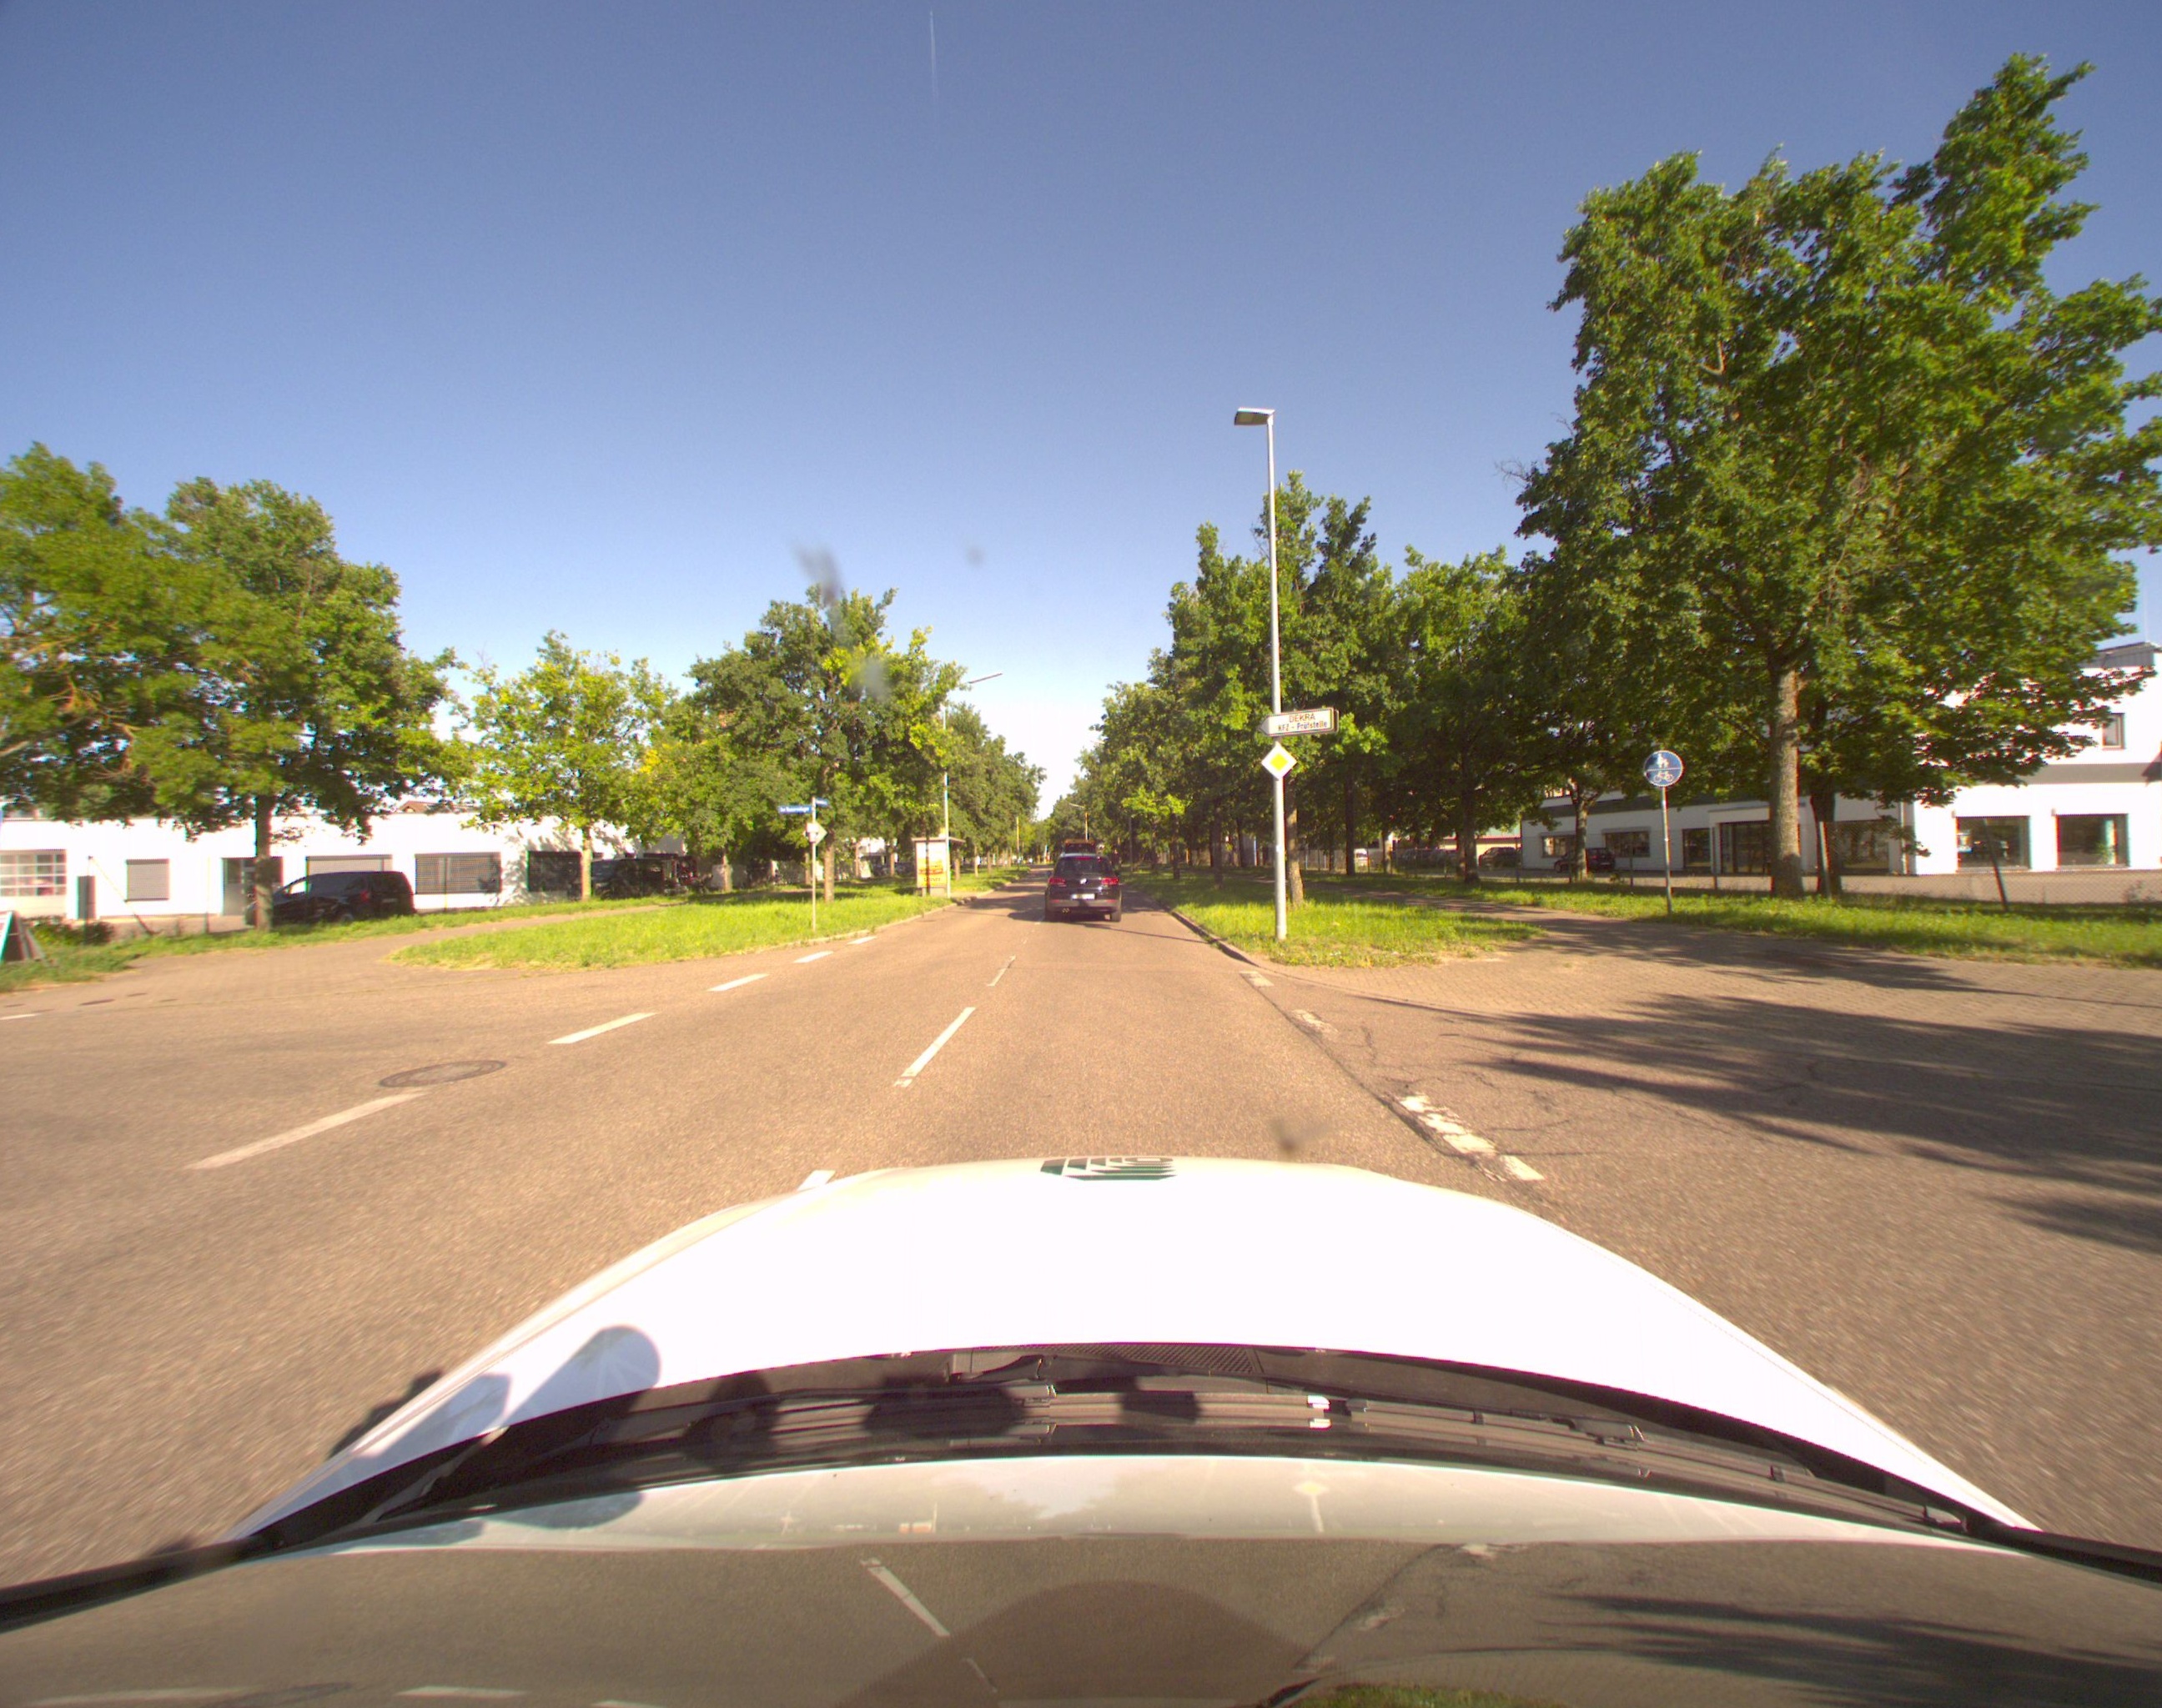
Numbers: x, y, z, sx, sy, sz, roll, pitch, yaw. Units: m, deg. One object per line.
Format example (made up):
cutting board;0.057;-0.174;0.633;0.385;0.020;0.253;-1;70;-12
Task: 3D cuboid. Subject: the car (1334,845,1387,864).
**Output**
car;28.454;0.033;83.113;4.621;1.744;2.186;-1;0;-7

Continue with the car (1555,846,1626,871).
car;29.919;0.263;47.958;1.760;1.383;3.764;-1;0;-2

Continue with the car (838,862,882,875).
car;-23.771;1.588;87.568;4.188;1.288;1.940;-1;0;-2

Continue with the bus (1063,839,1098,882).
bus;-0.040;0.507;72.181;2.755;3.456;11.209;-1;0;0

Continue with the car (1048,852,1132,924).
car;0.193;0.787;20.990;1.930;1.656;4.425;0;0;-1

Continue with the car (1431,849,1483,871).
car;31.942;0.506;69.390;2.179;1.744;4.638;-1;0;-2

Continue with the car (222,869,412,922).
car;-24.223;1.295;25.919;4.476;1.479;1.945;-2;0;7

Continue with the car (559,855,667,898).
car;-23.423;1.076;41.093;2.029;1.988;5.805;-2;0;0

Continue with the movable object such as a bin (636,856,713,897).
movable object such as a bin;-23.478;1.229;47.244;2.095;2.217;4.461;-1;0;1

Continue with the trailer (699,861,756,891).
trailer;-23.536;1.431;54.379;2.095;1.914;3.741;-1;0;1

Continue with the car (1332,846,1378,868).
car;23.306;0.234;69.522;2.179;1.744;4.638;-1;0;-2

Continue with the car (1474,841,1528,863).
car;36.121;-0.146;70.186;2.179;1.744;4.638;-1;0;-2

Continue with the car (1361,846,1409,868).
car;25.888;0.251;69.541;2.179;1.744;4.638;-1;0;-2
